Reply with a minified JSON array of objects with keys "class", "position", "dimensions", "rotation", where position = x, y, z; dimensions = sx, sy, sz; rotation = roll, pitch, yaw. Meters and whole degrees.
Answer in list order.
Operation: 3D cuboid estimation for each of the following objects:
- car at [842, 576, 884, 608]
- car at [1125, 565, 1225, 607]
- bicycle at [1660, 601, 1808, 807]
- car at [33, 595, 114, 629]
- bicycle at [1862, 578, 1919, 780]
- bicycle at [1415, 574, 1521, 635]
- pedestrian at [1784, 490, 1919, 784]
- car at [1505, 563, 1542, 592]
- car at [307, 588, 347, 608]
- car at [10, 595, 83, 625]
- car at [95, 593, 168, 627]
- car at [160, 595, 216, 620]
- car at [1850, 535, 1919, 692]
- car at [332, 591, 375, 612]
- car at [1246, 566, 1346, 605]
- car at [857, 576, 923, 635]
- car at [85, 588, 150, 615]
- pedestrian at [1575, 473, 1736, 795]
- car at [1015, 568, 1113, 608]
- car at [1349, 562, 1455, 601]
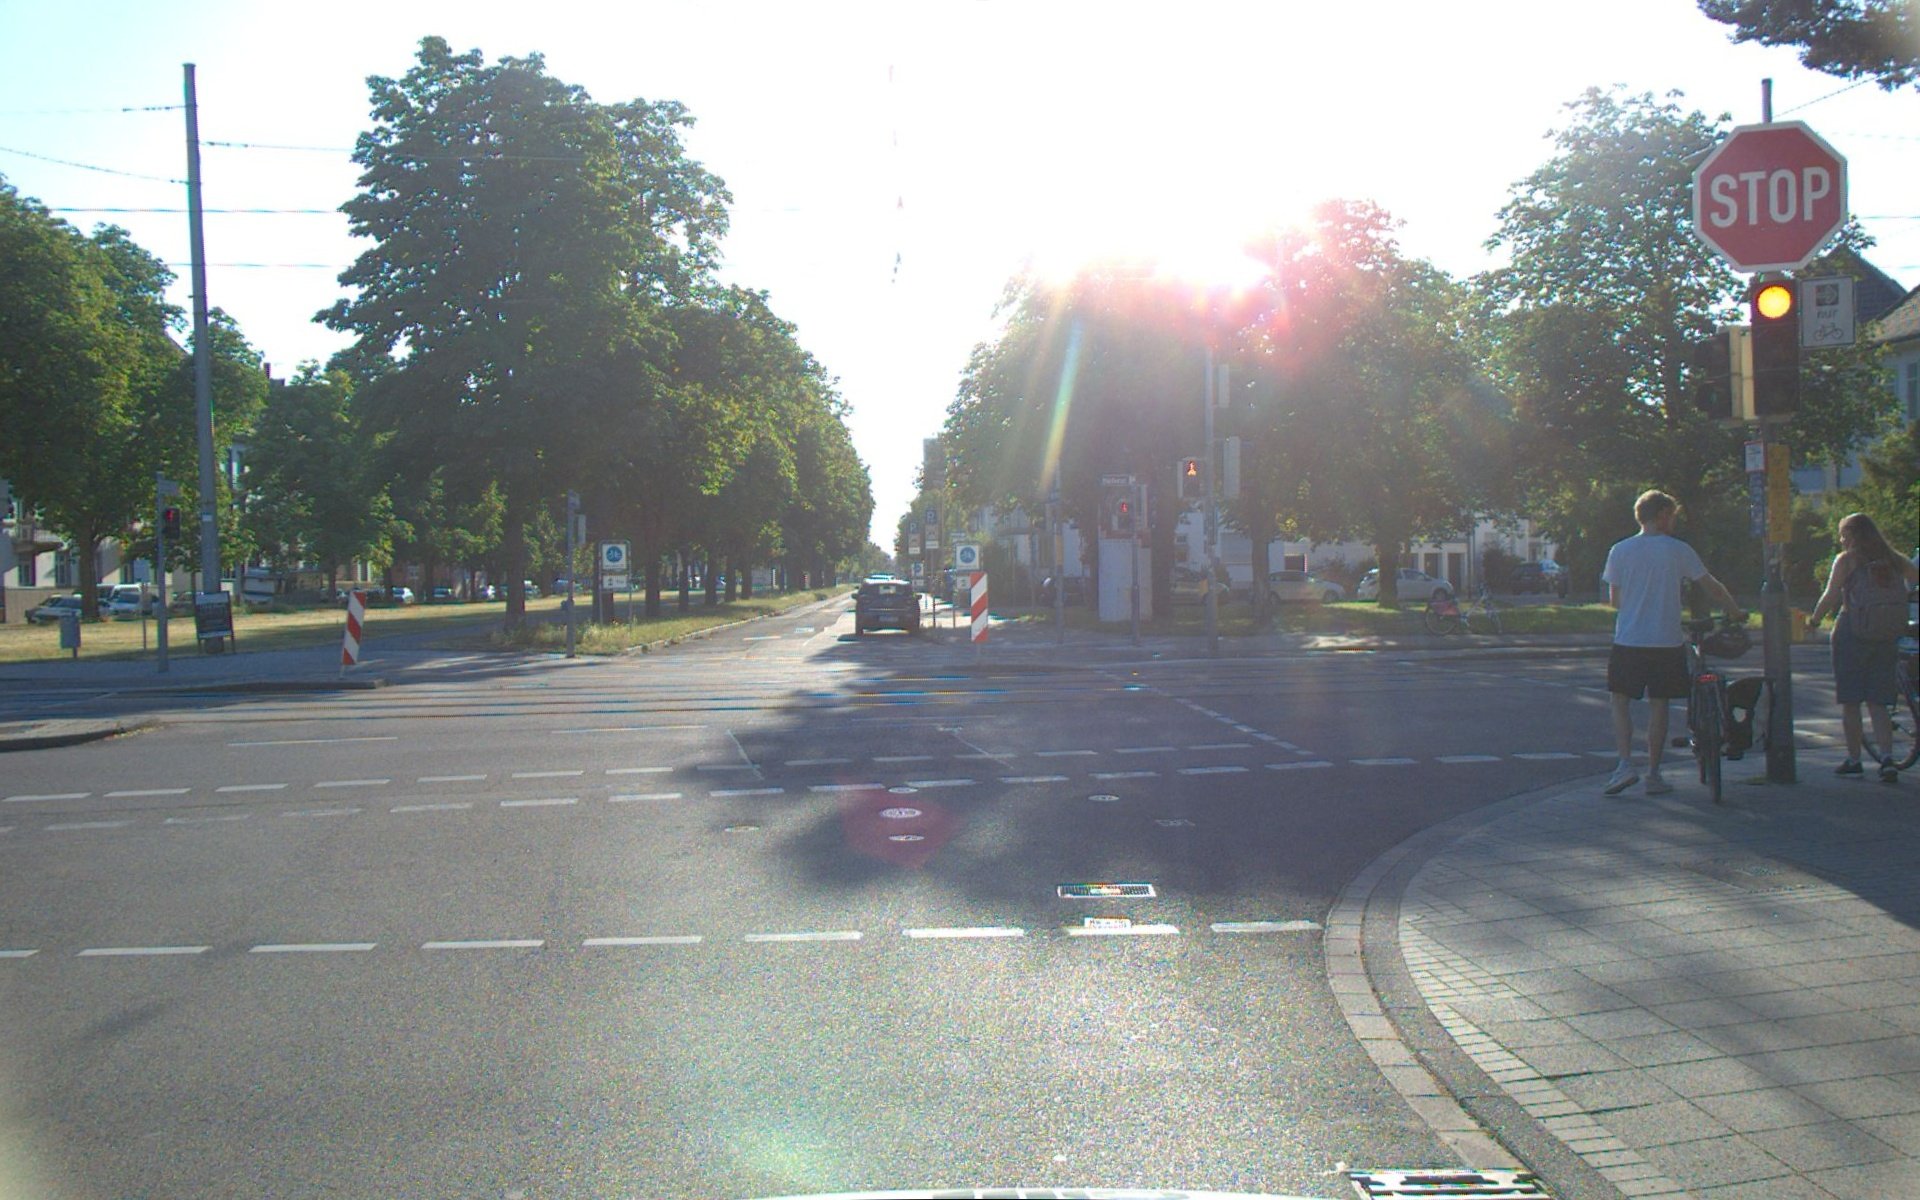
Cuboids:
[{"class":"car","position":[-4.531,-0.386,77.727],"dimensions":[1.808,1.418,3.828],"rotation":[0,1,-2]},{"class":"car","position":[8.483,-0.582,65.432],"dimensions":[3.704,1.552,1.743],"rotation":[-1,2,-3]},{"class":"bicycle","position":[4.725,0.589,10.188],"dimensions":[0.476,1.116,1.792],"rotation":[-3,0,16]},{"class":"car","position":[-40.053,0.523,74.823],"dimensions":[1.703,1.452,3.791],"rotation":[-1,1,-2]},{"class":"bicycle","position":[6.006,0.464,10.115],"dimensions":[0.476,1.162,1.599],"rotation":[-3,1,16]},{"class":"bicycle","position":[10.117,0.084,32.991],"dimensions":[1.914,1.152,0.620],"rotation":[-1,0,0]},{"class":"pedestrian","position":[5.593,0.215,10.269],"dimensions":[0.655,1.737,0.623],"rotation":[-4,1,17]},{"class":"car","position":[28.812,-1.146,84.532],"dimensions":[1.629,1.442,3.543],"rotation":[-1,1,21]},{"class":"car","position":[-48.069,-0.163,125.660],"dimensions":[1.703,1.452,3.791],"rotation":[-1,1,-2]},{"class":"car","position":[-47.024,0.503,85.236],"dimensions":[1.703,1.452,3.791],"rotation":[-1,1,-2]},{"class":"car","position":[-40.310,0.461,80.594],"dimensions":[1.703,1.452,3.792],"rotation":[-1,2,-2]},{"class":"car","position":[-47.401,0.458,101.593],"dimensions":[1.703,1.452,3.791],"rotation":[-1,1,-2]},{"class":"car","position":[11.563,0.088,17.388],"dimensions":[3.798,1.578,1.607],"rotation":[-2,3,-13]},{"class":"car","position":[-42.305,0.099,115.501],"dimensions":[1.703,1.452,3.791],"rotation":[-1,1,-2]},{"class":"car","position":[13.288,-0.585,65.450],"dimensions":[3.593,1.452,1.529],"rotation":[-1,1,-7]},{"class":"car","position":[-1.819,0.119,43.838],"dimensions":[1.607,1.476,3.307],"rotation":[-1,1,0]},{"class":"car","position":[-46.499,0.069,91.334],"dimensions":[1.703,1.452,3.791],"rotation":[-1,1,-2]},{"class":"pedestrian","position":[4.370,0.212,10.452],"dimensions":[0.656,1.897,0.882],"rotation":[-6,-2,16]},{"class":"car","position":[4.070,-0.489,65.038],"dimensions":[3.704,1.452,1.743],"rotation":[-1,2,-3]},{"class":"car","position":[17.694,-0.740,66.290],"dimensions":[3.772,1.452,1.595],"rotation":[-1,1,-7]}]
